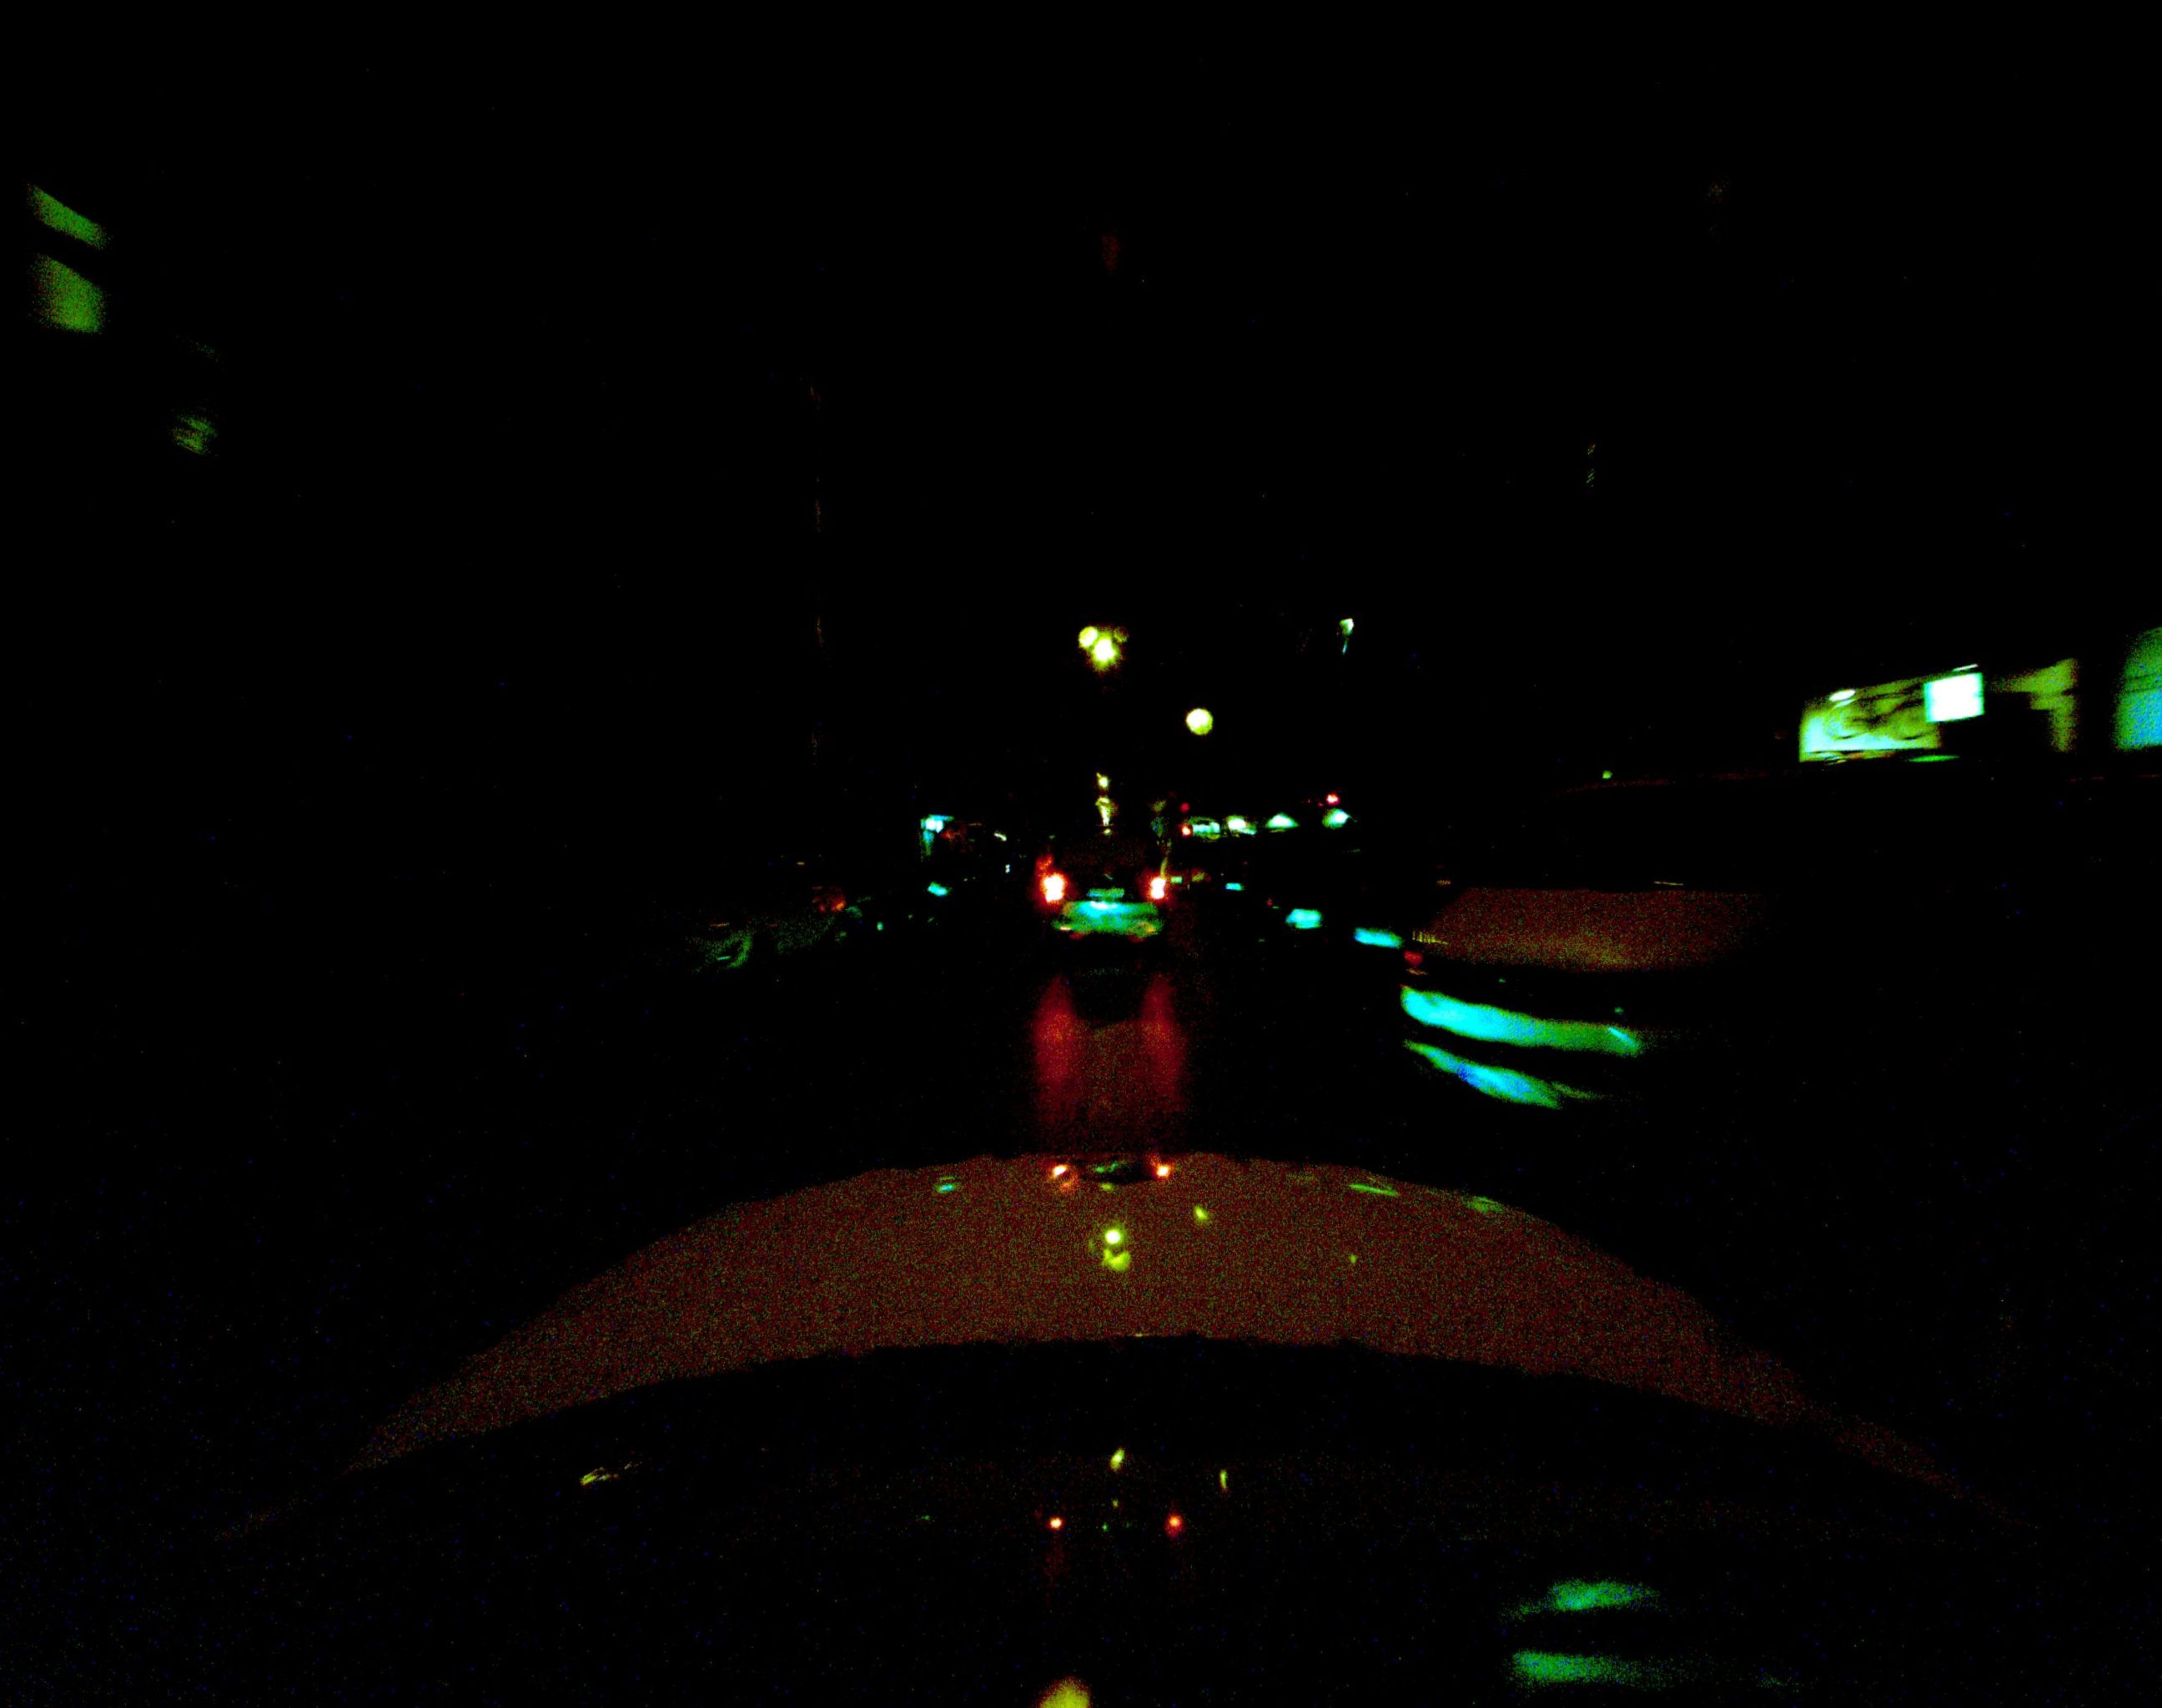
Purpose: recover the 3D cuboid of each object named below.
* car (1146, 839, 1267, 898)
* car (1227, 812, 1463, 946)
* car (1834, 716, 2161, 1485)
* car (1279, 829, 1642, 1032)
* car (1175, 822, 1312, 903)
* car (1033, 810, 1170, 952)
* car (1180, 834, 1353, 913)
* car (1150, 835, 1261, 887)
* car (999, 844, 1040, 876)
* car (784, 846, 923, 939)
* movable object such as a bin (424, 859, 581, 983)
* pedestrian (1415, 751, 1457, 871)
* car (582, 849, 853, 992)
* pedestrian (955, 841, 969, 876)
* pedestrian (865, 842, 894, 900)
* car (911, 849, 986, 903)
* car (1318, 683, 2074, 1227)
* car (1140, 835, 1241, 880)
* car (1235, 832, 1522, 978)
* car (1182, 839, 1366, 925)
[{"bbox_3d":[3.938,0.431,25.376,3.581,1.590,1.588,-3,0,-35],"label":"car"},{"bbox_3d":[4.420,0.326,13.462,3.766,1.840,1.707,-3,0,-35],"label":"car"},{"bbox_3d":[4.088,0.451,2.366,3.574,1.711,1.631,-3,0,-28],"label":"car"},{"bbox_3d":[3.806,0.604,8.036,3.526,1.494,1.436,-3,0,-30],"label":"car"},{"bbox_3d":[4.515,0.197,22.447,3.581,1.990,1.588,-3,0,-35],"label":"car"},{"bbox_3d":[0.364,0.404,13.956,1.986,2.050,4.002,-1,0,2],"label":"car"},{"bbox_3d":[4.634,0.424,20.158,4.017,1.587,1.861,-4,1,-34],"label":"car"},{"bbox_3d":[4.829,0.233,31.431,4.017,1.761,1.860,-3,2,-35],"label":"car"},{"bbox_3d":[-3.361,0.315,45.195,1.876,1.685,4.002,-1,0,2],"label":"car"},{"bbox_3d":[-4.270,0.639,15.887,1.651,1.557,4.074,-1,0,-2],"label":"car"},{"bbox_3d":[-7.024,0.774,9.954,1.043,1.398,1.159,1,0,4],"label":"movable object such as a bin"},{"bbox_3d":[10.616,-1.260,24.361,0.888,3.527,0.791,-1,0,1],"label":"pedestrian"},{"bbox_3d":[-4.341,0.688,10.411,1.580,1.482,3.796,-1,0,3],"label":"car"},{"bbox_3d":[-6.431,0.233,44.021,0.659,1.904,0.539,-1,0,-3],"label":"pedestrian"},{"bbox_3d":[-6.005,0.507,24.291,0.698,1.704,0.539,-1,0,1],"label":"pedestrian"},{"bbox_3d":[-4.084,0.629,25.689,1.808,1.557,4.074,-1,0,-2],"label":"car"},{"bbox_3d":[4.022,0.323,5.146,4.813,2.048,2.047,-2,1,-29],"label":"car"},{"bbox_3d":[4.605,0.108,34.144,4.017,1.761,1.860,-1,0,-35],"label":"car"},{"bbox_3d":[3.951,0.557,10.676,3.580,1.484,1.708,-3,0,-34],"label":"car"},{"bbox_3d":[4.021,0.526,16.823,3.580,1.453,1.655,-3,0,-34],"label":"car"}]
